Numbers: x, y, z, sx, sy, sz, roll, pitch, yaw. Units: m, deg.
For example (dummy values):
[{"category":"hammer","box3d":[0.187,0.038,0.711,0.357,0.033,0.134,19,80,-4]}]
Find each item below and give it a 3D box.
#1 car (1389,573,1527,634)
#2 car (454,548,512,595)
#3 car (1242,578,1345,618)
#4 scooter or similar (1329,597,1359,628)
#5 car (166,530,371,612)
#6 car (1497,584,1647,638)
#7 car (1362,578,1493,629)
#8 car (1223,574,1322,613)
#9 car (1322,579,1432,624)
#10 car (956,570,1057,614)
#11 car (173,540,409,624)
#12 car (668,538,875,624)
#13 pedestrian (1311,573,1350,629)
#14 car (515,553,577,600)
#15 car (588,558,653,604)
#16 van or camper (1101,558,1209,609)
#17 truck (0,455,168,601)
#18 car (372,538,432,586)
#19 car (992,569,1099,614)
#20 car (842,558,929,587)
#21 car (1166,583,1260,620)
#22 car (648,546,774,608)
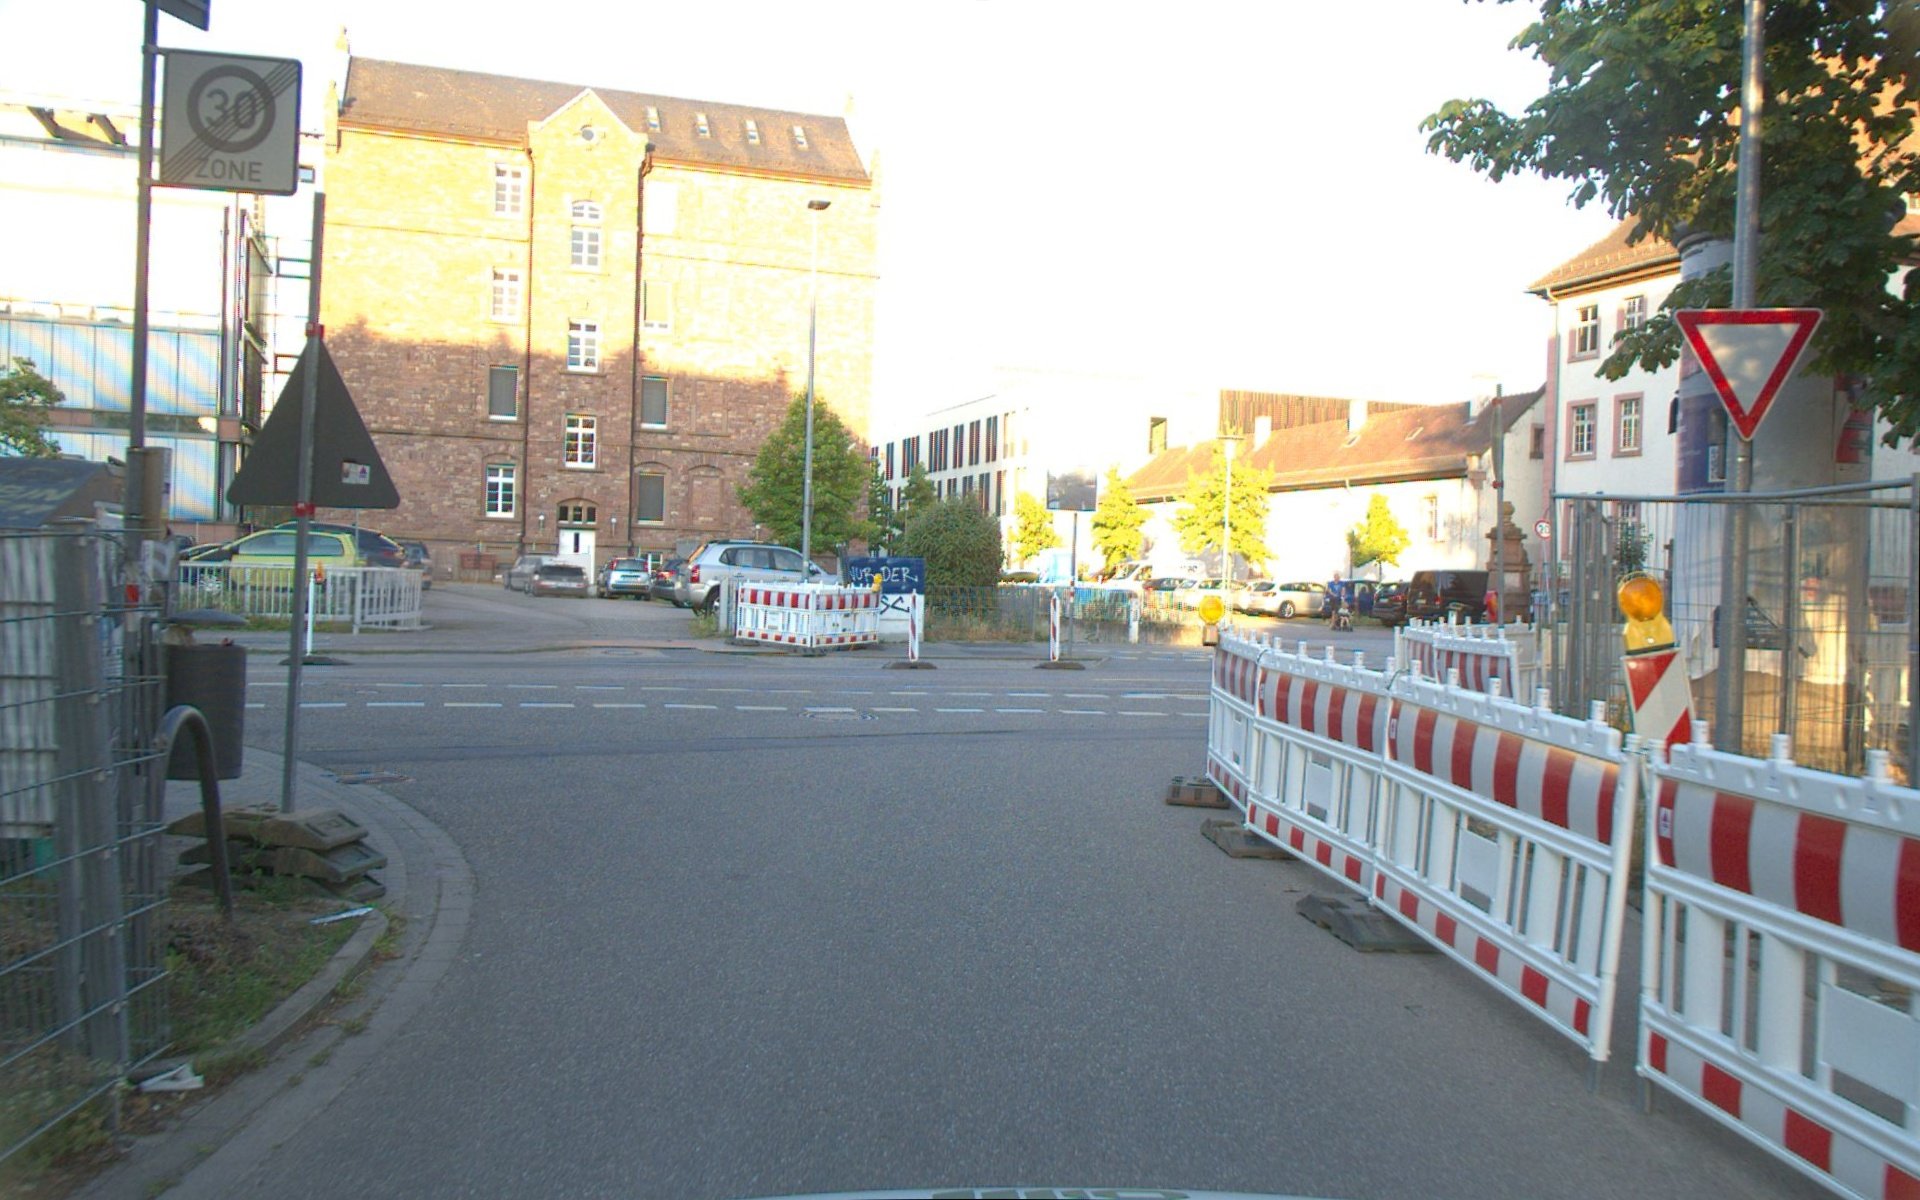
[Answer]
[{"category":"car","box3d":[16.334,0.111,54.271,3.931,1.891,1.987,1,1,-22]},{"category":"car","box3d":[-16.933,-1.028,58.619,1.867,1.564,4.159,1,1,-18]},{"category":"car","box3d":[13.203,-0.078,65.456,3.688,1.470,1.676,1,1,-22]},{"category":"scooter or similar","box3d":[11.629,0.381,50.089,0.506,0.906,0.802,1,1,-18]},{"category":"car","box3d":[-13.711,-0.572,32.983,3.573,1.530,1.630,1,1,-17]},{"category":"car","box3d":[18.418,0.331,49.775,3.931,1.484,1.987,1,1,-22]},{"category":"car","box3d":[16.033,0.110,56.731,3.931,1.600,1.987,1,1,-22]},{"category":"car","box3d":[12.866,-0.260,68.092,3.688,1.470,1.676,1,1,-22]},{"category":"car","box3d":[15.438,0.043,61.227,3.688,1.555,1.676,1,1,-22]},{"category":"car","box3d":[1.857,-0.332,66.087,3.688,1.631,1.676,1,1,-22]},{"category":"car","box3d":[-14.181,-0.385,35.326,4.510,1.666,1.568,1,1,-17]},{"category":"car","box3d":[-4.098,-0.415,35.909,4.205,1.738,1.693,1,1,-20]},{"category":"pedestrian","box3d":[11.413,0.028,51.019,0.738,1.671,1.010,1,0,-17]},{"category":"car","box3d":[-14.876,-0.883,59.266,1.867,1.564,4.159,1,1,-18]},{"category":"car","box3d":[-12.380,-0.718,60.116,1.867,1.564,4.159,1,1,-18]},{"category":"van or camper","box3d":[9.302,-0.780,78.798,4.893,2.279,1.676,1,1,-22]},{"category":"truck","box3d":[-17.720,-1.418,33.457,2.297,2.662,4.950,1,1,-17]},{"category":"car","box3d":[-19.527,-1.345,57.991,1.867,1.564,4.159,1,1,-18]},{"category":"car","box3d":[3.262,-0.331,63.234,3.688,1.631,1.676,1,1,-22]},{"category":"car","box3d":[-3.681,-1.340,81.962,3.927,1.336,1.867,1,1,-20]},{"category":"car","box3d":[10.963,0.075,71.769,3.688,1.470,1.676,1,1,-22]},{"category":"car","box3d":[-7.342,-0.671,48.767,3.423,1.738,1.659,1,1,-20]}]
